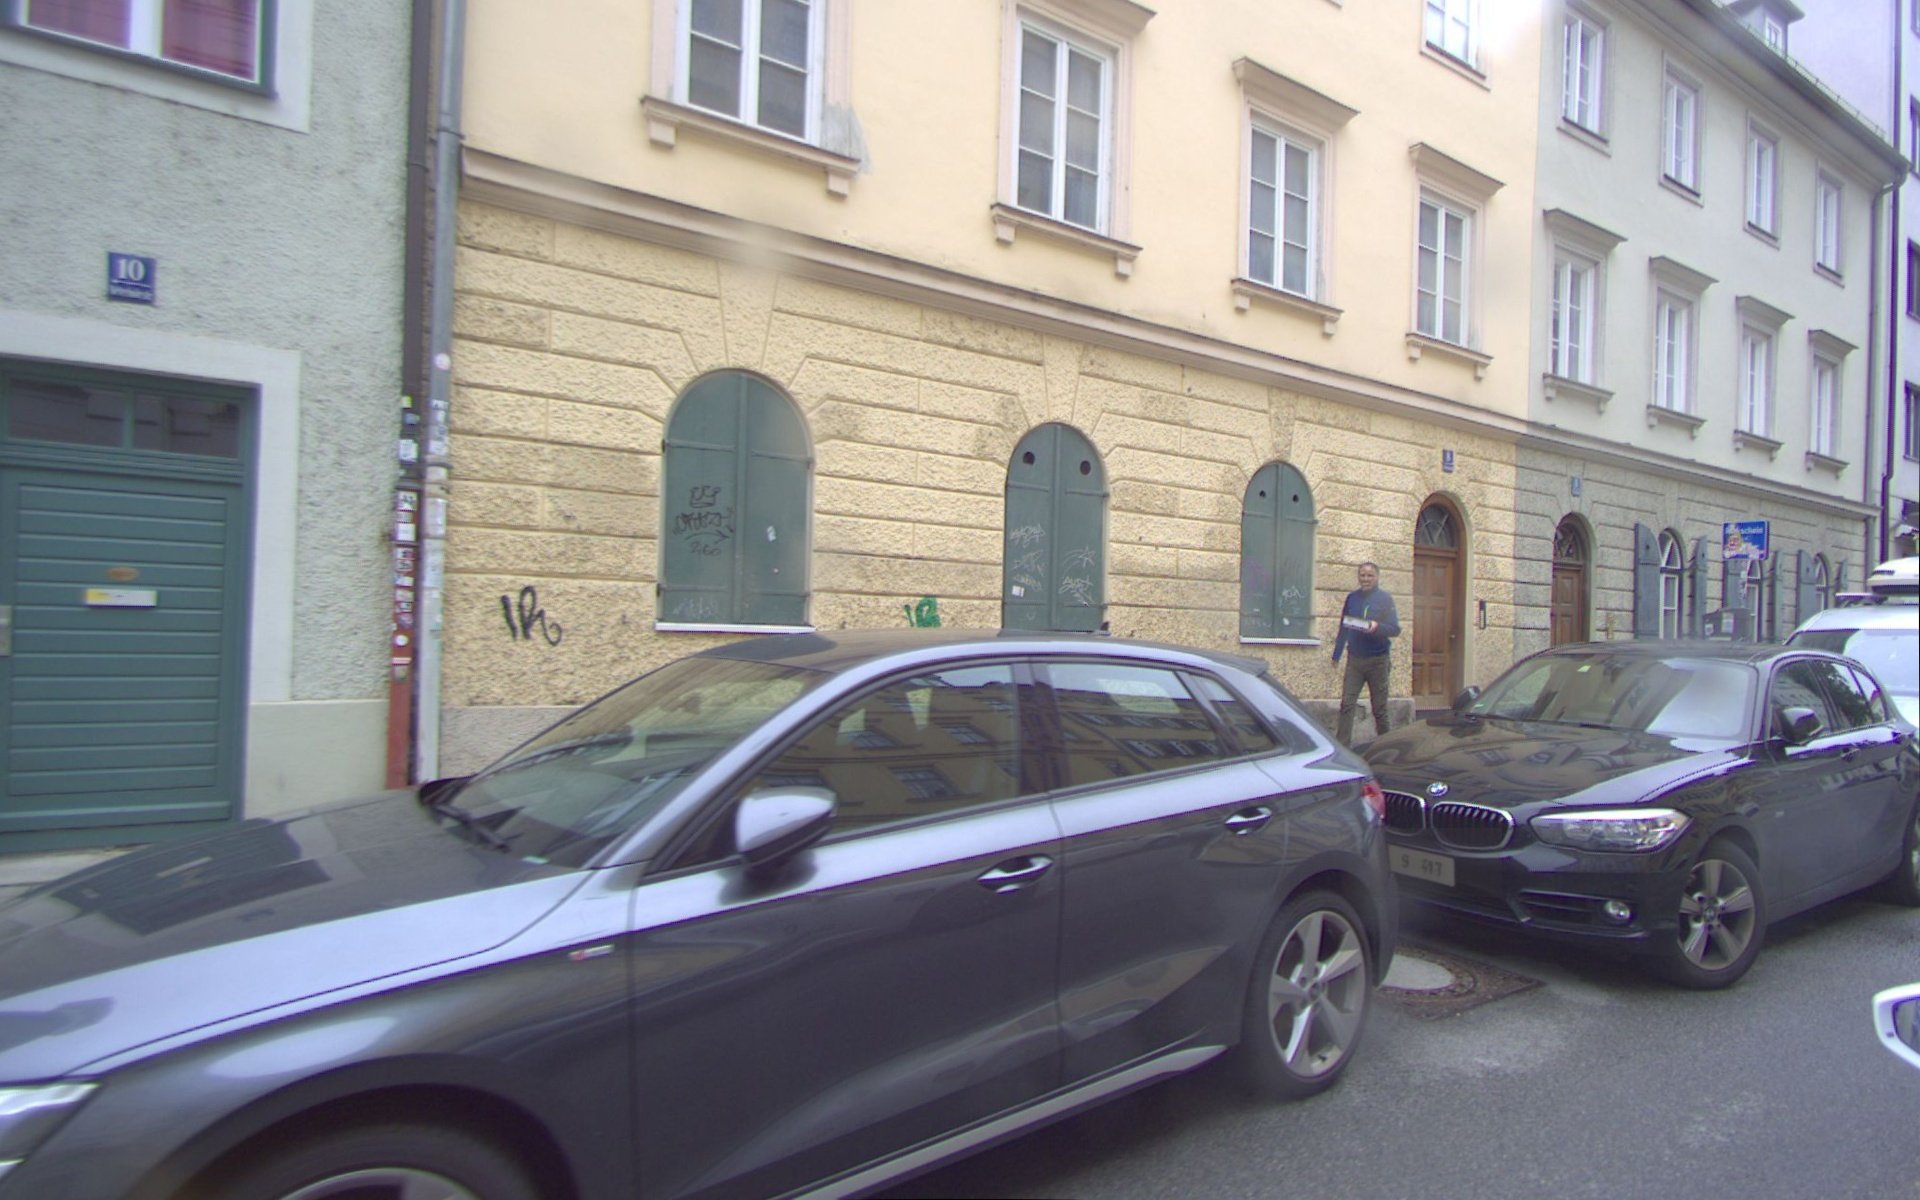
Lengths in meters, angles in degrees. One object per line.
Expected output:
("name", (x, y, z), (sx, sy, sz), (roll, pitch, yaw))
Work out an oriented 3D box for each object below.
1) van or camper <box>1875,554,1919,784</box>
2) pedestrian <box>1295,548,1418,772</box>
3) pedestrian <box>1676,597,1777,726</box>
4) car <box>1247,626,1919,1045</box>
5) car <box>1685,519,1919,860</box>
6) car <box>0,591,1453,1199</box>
("van or camper", (12.401, 0.754, 11.134), (5.417, 2.342, 1.983), (2, -1, -32))
("pedestrian", (3.804, 0.554, 9.668), (0.741, 2.040, 0.801), (1, -1, -30))
("pedestrian", (10.725, 0.835, 14.067), (1.009, 1.734, 0.801), (1, -1, -30))
("car", (3.731, 0.910, 5.515), (4.225, 1.420, 1.846), (2, 0, -34))
("car", (7.861, 0.635, 8.262), (4.520, 2.231, 1.843), (2, 0, -38))
("car", (-0.571, 0.745, 2.985), (4.227, 1.420, 1.845), (2, 0, -35))
